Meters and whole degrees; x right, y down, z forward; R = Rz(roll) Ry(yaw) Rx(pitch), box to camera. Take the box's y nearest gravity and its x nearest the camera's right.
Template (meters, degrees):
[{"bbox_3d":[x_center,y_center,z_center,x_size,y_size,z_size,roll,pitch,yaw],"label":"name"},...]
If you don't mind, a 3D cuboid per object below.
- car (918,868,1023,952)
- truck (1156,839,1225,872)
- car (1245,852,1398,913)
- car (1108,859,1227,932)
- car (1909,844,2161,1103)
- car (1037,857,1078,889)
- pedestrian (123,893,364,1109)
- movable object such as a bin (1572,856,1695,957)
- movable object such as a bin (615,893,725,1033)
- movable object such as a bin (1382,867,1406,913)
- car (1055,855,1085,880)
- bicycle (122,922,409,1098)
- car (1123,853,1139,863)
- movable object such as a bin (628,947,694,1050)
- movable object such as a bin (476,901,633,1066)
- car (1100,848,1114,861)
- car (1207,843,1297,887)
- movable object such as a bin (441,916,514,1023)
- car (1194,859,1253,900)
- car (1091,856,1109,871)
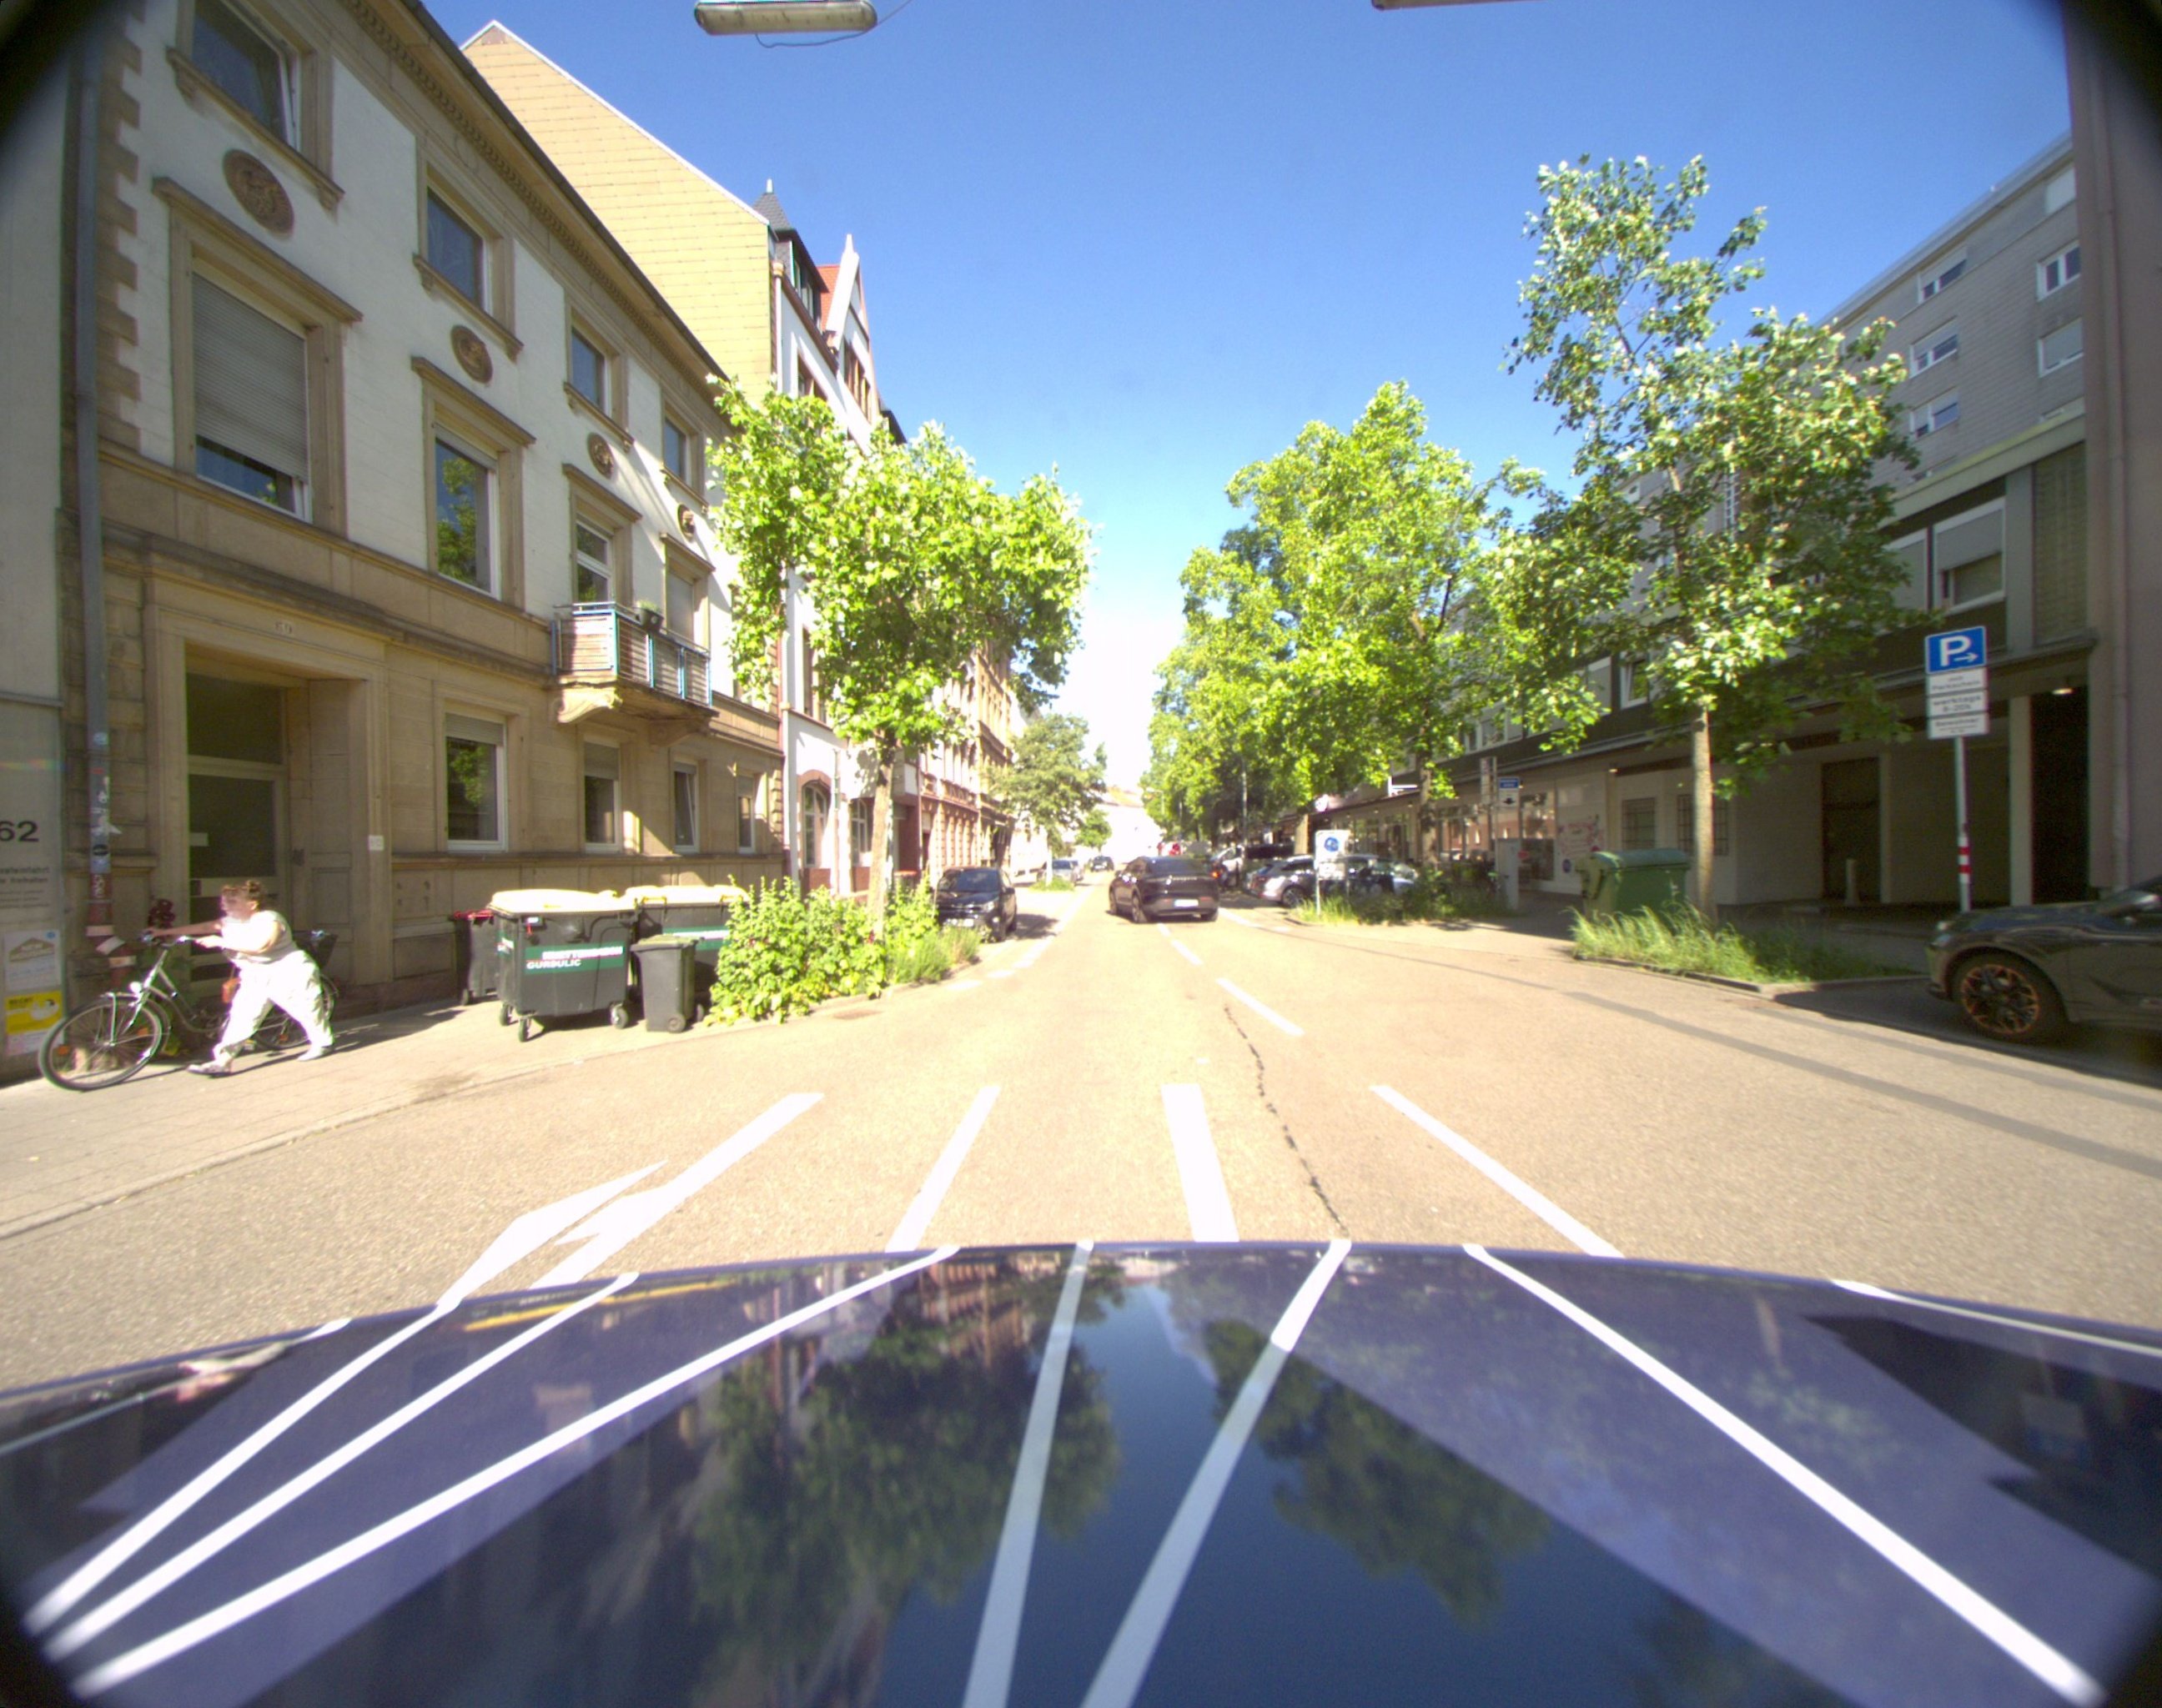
[{"bbox_3d":[-2.202,1.089,15.914,1.551,1.483,3.352,-1,0,2],"label":"car"},{"bbox_3d":[9.166,0.124,63.870,5.321,2.581,1.999,-1,0,-7],"label":"truck"},{"bbox_3d":[7.131,0.823,22.868,3.996,1.665,2.000,-1,0,3],"label":"car"},{"bbox_3d":[2.029,0.945,19.134,1.995,1.598,4.259,-1,0,-7],"label":"car"},{"bbox_3d":[7.925,0.783,4.408,1.821,1.583,4.142,-4,0,5],"label":"car"},{"bbox_3d":[-1.112,0.924,38.418,1.759,1.492,3.950,-1,0,2],"label":"car"},{"bbox_3d":[-6.588,1.109,6.044,0.825,1.529,0.947,-1,1,3],"label":"pedestrian"},{"bbox_3d":[8.766,0.806,12.119,1.246,1.536,1.019,-1,0,8],"label":"movable object such as a bin"},{"bbox_3d":[-4.605,1.153,8.488,0.960,1.341,1.066,0,2,-35],"label":"movable object such as a bin"},{"bbox_3d":[8.583,0.979,20.817,0.488,1.218,0.410,-1,1,3],"label":"movable object such as a bin"},{"bbox_3d":[-0.641,0.846,47.724,1.653,1.483,3.290,-1,0,2],"label":"car"},{"bbox_3d":[-6.775,1.230,6.469,0.402,1.126,1.792,-1,0,3],"label":"bicycle"},{"bbox_3d":[9.867,0.764,148.880,1.995,2.002,4.006,-1,0,20],"label":"car"},{"bbox_3d":[-4.138,1.415,7.503,0.401,0.916,0.484,1,2,-5],"label":"movable object such as a bin"},{"bbox_3d":[-5.149,1.181,7.431,1.212,1.318,1.052,3,2,45],"label":"movable object such as a bin"},{"bbox_3d":[4.045,0.043,119.174,1.998,2.002,4.001,-1,0,4],"label":"car"},{"bbox_3d":[8.257,0.509,36.948,3.996,2.020,2.000,-1,0,3],"label":"car"},{"bbox_3d":[-6.836,1.280,8.611,0.615,1.075,0.568,3,3,45],"label":"movable object such as a bin"},{"bbox_3d":[5.551,0.937,29.939,1.867,1.455,4.001,-1,0,5],"label":"car"},{"bbox_3d":[1.940,0.900,75.356,1.653,1.446,3.291,-1,0,3],"label":"car"}]
